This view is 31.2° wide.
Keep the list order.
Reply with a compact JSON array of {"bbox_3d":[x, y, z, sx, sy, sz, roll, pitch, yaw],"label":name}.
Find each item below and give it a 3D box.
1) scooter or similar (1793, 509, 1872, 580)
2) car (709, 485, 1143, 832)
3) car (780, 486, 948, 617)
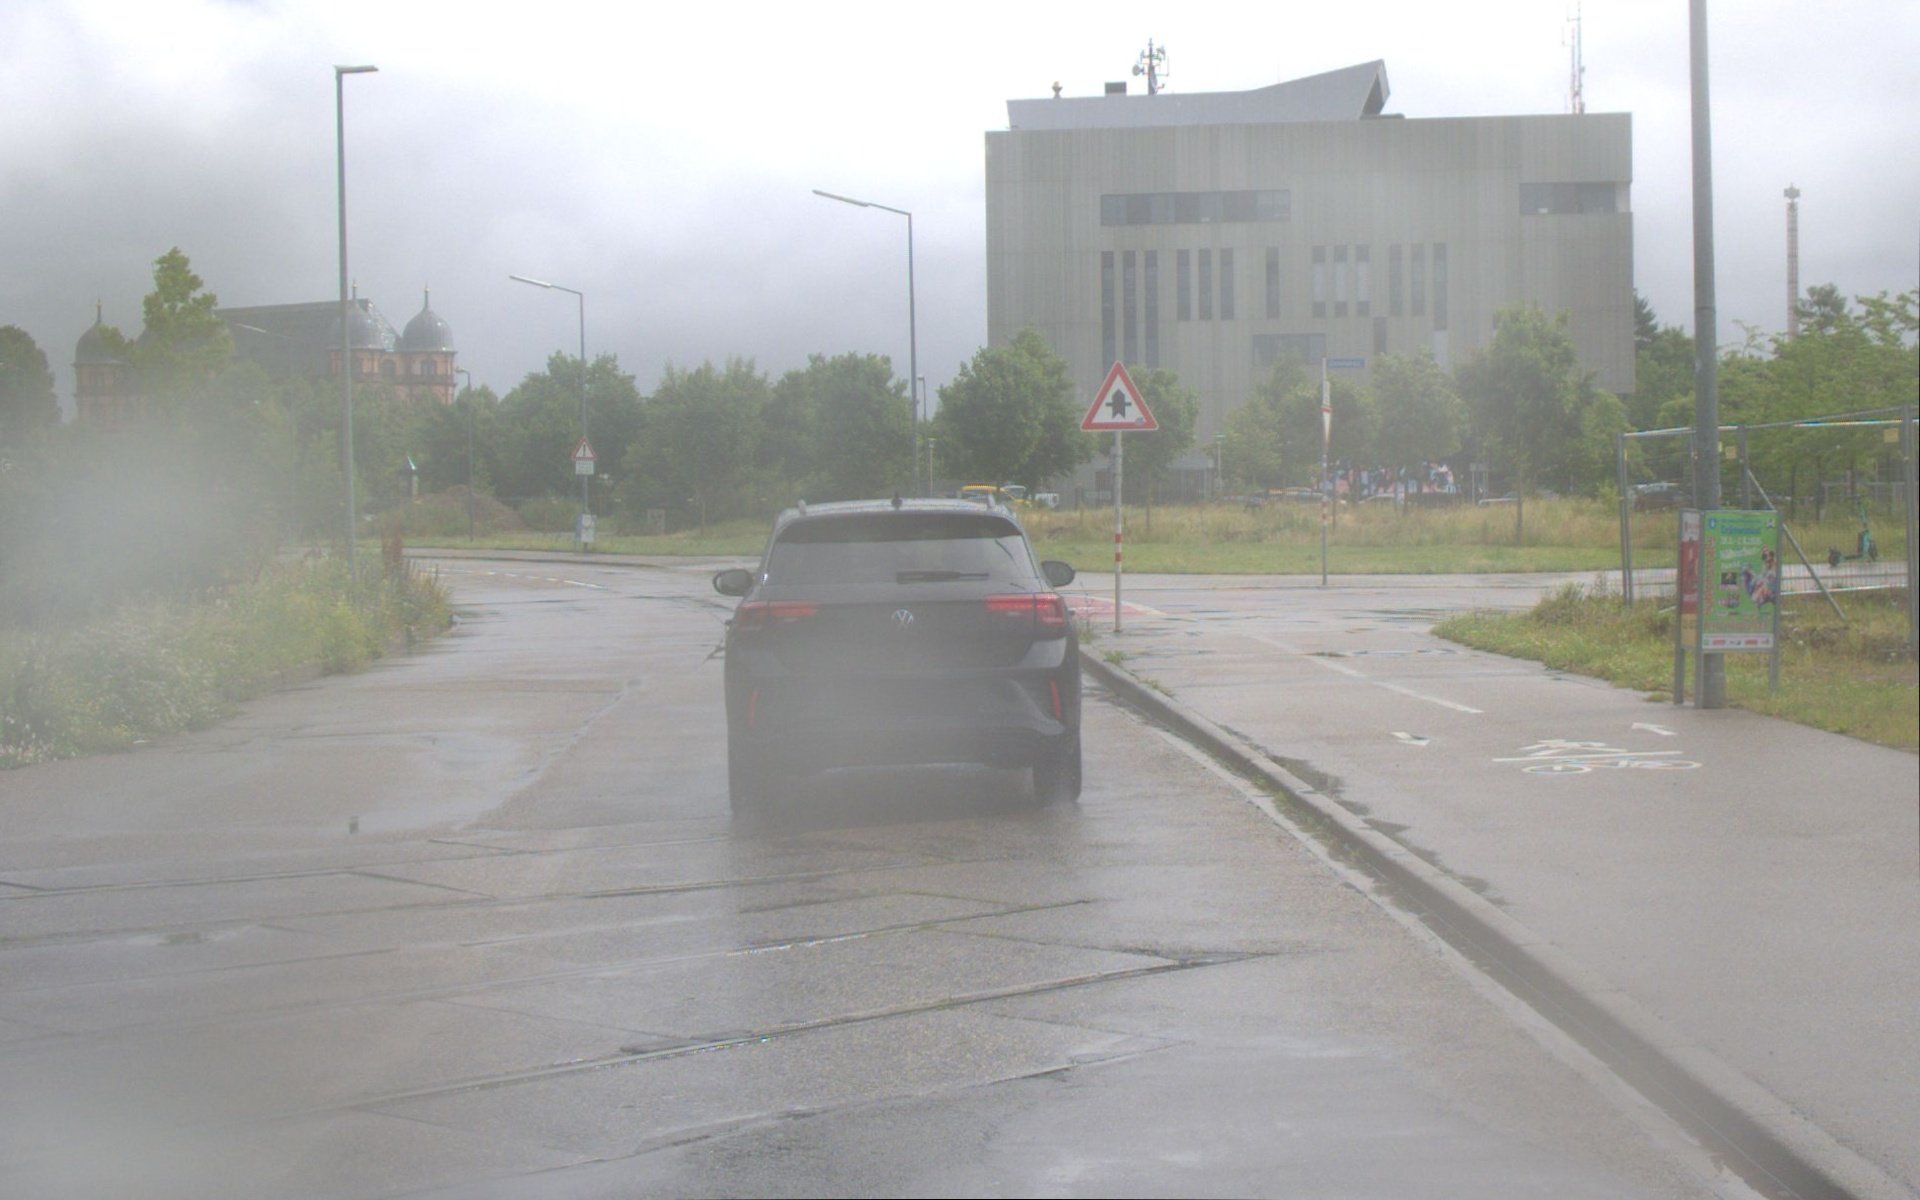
[{"bbox_3d":[15.388,-0.983,60.645,1.280,1.183,0.503,-3,4,-21],"label":"scooter or similar"},{"bbox_3d":[-0.254,0.208,18.291,1.987,1.515,4.001,-3,2,-3],"label":"car"},{"bbox_3d":[-1.233,-0.637,42.562,1.841,1.437,4.001,-3,2,-4],"label":"car"}]
